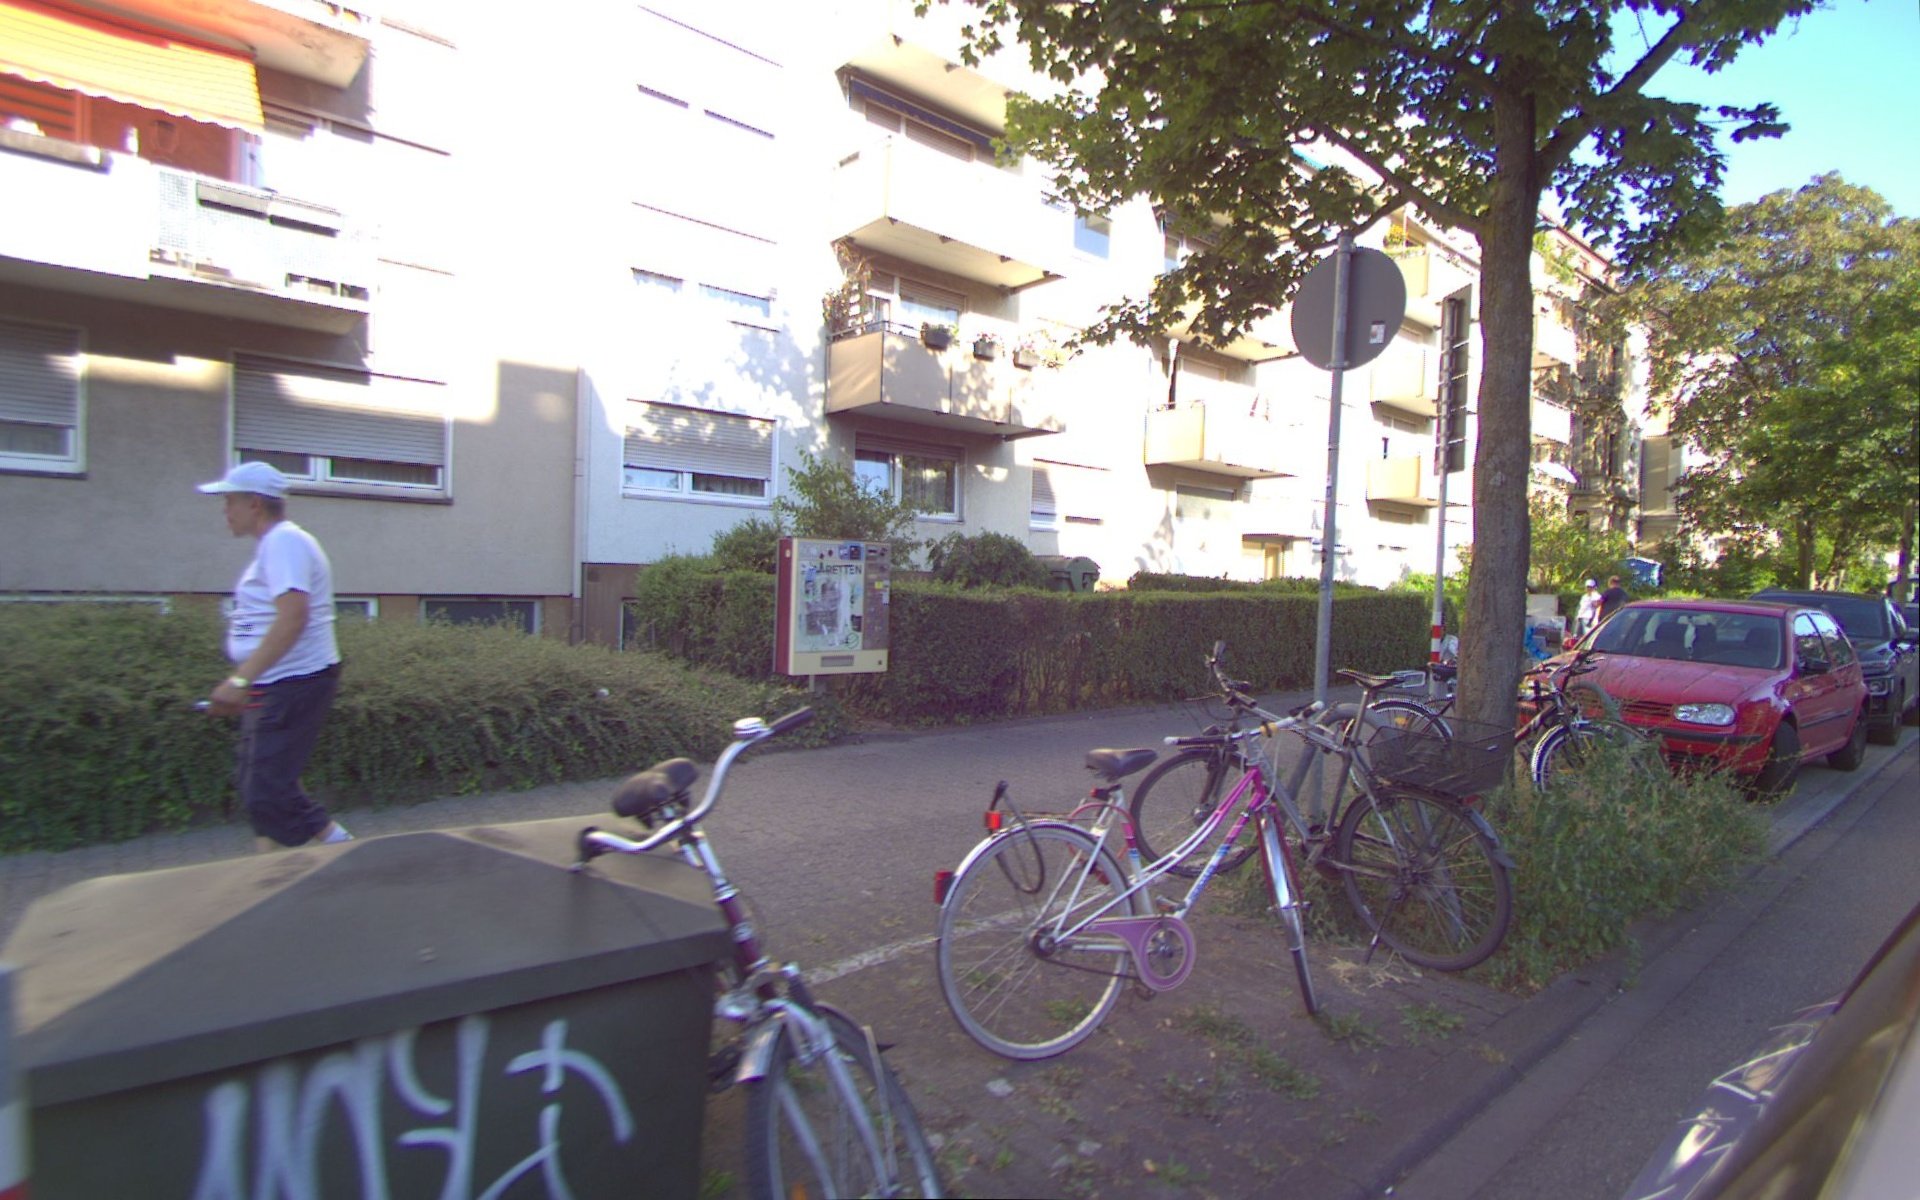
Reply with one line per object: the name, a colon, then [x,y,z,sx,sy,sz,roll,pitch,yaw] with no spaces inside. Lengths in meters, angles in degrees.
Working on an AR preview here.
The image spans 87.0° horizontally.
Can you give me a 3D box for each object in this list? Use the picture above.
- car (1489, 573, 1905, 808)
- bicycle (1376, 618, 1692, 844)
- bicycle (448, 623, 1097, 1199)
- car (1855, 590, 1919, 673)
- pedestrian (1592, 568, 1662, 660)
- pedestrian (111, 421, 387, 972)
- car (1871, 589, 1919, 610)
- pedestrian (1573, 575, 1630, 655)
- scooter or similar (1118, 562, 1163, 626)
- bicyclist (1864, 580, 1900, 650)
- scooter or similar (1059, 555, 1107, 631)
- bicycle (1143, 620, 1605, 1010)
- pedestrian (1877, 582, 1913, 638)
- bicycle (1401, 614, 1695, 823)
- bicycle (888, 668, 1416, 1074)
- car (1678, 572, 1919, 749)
car: [6.290,0.582,8.498,3.939,1.467,1.709,0,3,-37]
bicycle: [3.416,0.709,6.148,0.492,1.117,1.574,0,2,-40]
bicycle: [-0.600,0.730,2.210,0.670,1.171,1.842,1,4,-34]
car: [19.443,0.609,20.286,4.195,1.498,1.712,0,4,-42]
pedestrian: [12.376,0.245,18.796,0.742,1.660,0.697,1,1,-6]
pedestrian: [-2.591,0.298,3.729,0.757,1.770,0.665,1,3,-35]
car: [73.816,-0.048,79.021,3.868,1.523,1.550,3,2,44]
pedestrian: [12.813,0.285,20.216,0.682,1.559,0.594,1,1,-5]
scooter or similar: [3.768,-0.134,21.167,0.657,1.288,0.616,0,2,-41]
bicyclist: [24.485,0.398,26.879,0.837,1.811,0.582,1,1,-41]
scooter or similar: [2.412,-0.141,19.870,0.657,1.460,0.616,0,2,-41]
bicycle: [1.565,0.724,4.152,0.507,1.120,1.694,1,4,-34]
pedestrian: [31.244,0.321,33.824,0.821,1.796,1.072,2,2,45]
bicycle: [3.721,0.688,6.526,0.385,1.117,1.574,0,2,-40]
bicycle: [0.595,0.785,3.294,1.540,1.064,0.622,1,1,-15]
car: [9.931,0.553,11.626,3.944,1.600,1.859,0,4,-42]
